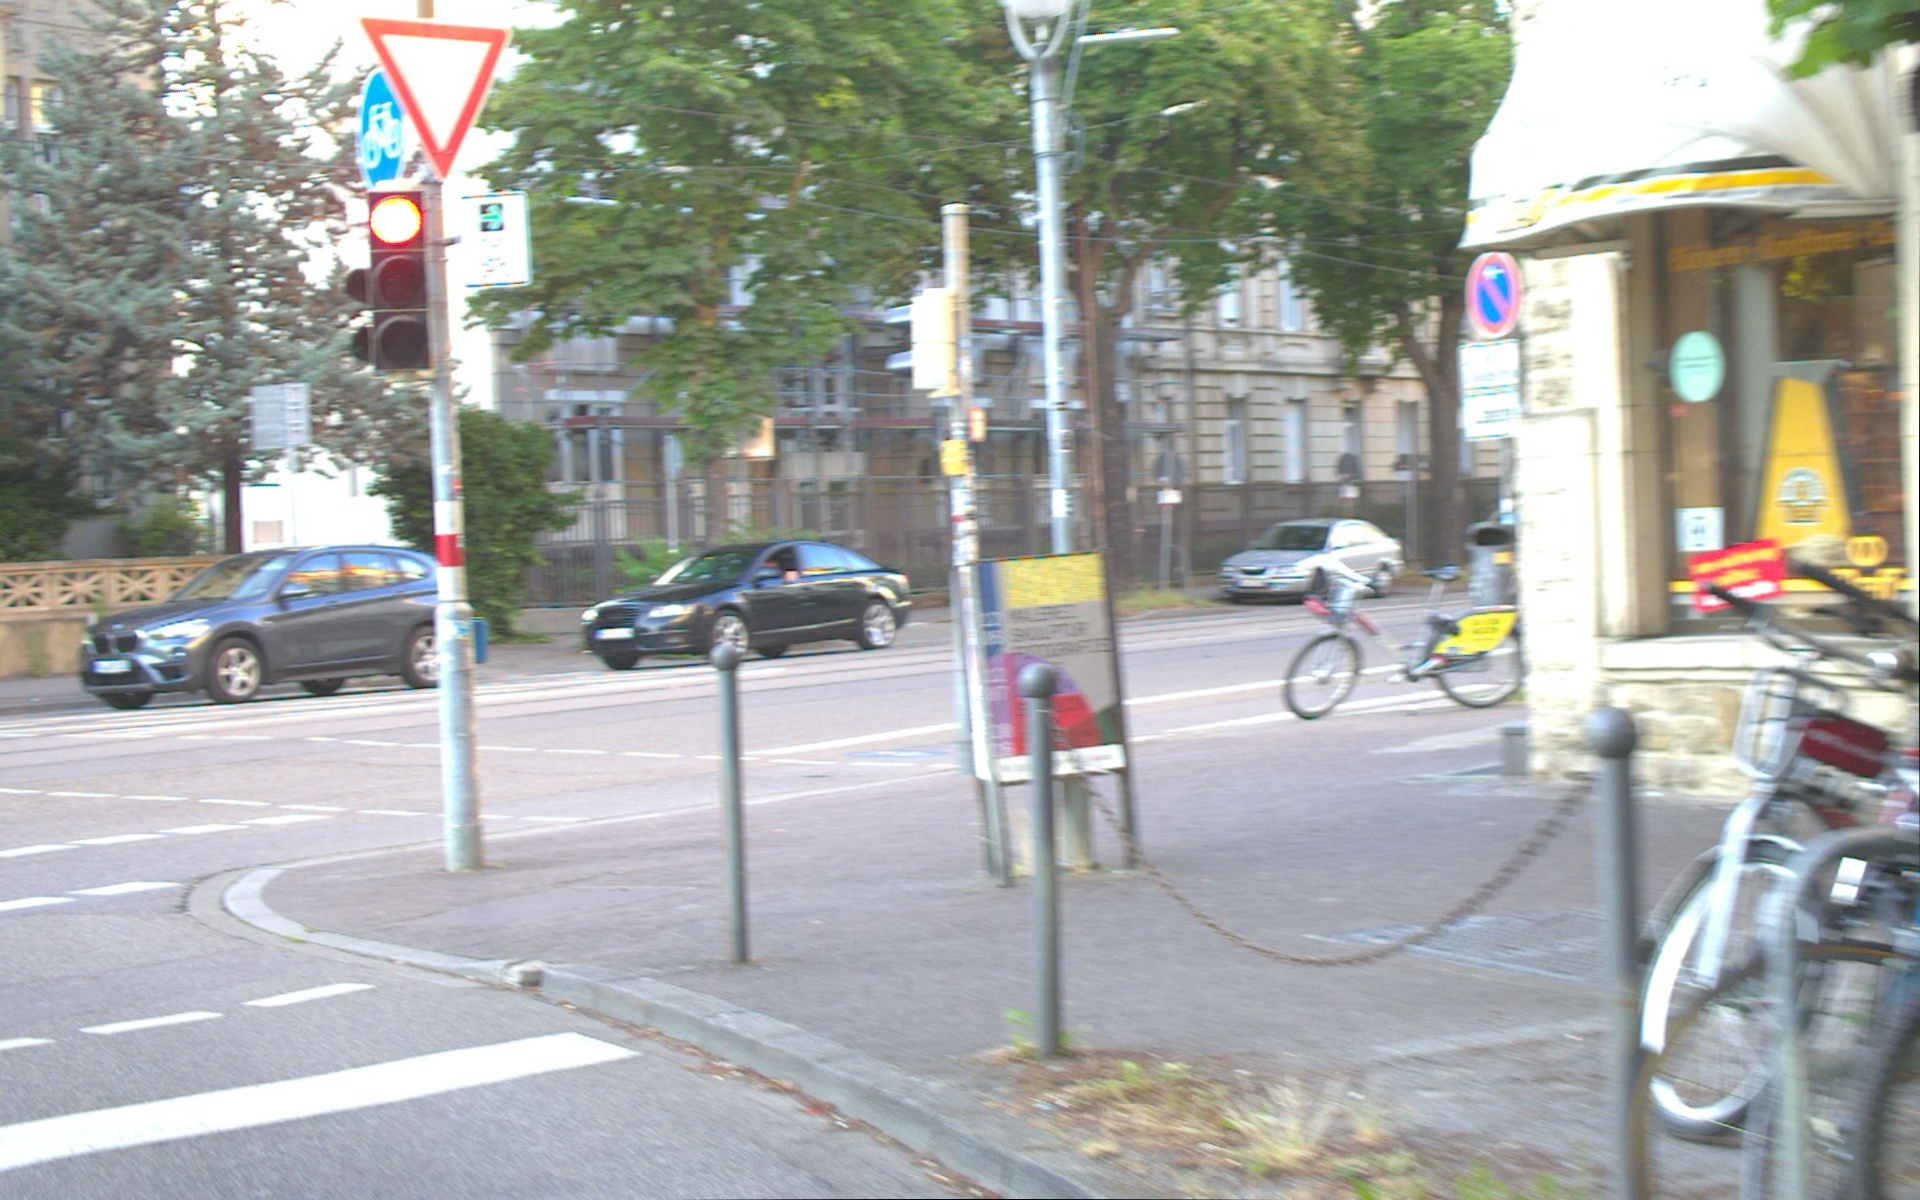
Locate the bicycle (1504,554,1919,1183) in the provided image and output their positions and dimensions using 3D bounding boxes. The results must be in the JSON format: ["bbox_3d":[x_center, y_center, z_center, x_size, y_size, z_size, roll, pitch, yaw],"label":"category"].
[{"bbox_3d":[2.168,0.521,7.538,1.787,1.232,0.651,-3,1,-18],"label":"bicycle"}]

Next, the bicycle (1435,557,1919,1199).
[{"bbox_3d":[1.873,0.541,6.398,1.787,1.232,0.700,-3,1,-17],"label":"bicycle"}]

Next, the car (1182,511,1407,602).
[{"bbox_3d":[5.943,-0.784,60.568,2.007,1.422,4.624,-1,2,33],"label":"car"}]

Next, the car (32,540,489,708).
[{"bbox_3d":[-7.177,0.219,35.656,1.948,1.504,4.411,-1,2,37],"label":"car"}]

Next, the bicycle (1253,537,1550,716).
[{"bbox_3d":[2.995,0.169,23.432,1.872,1.126,0.731,-2,1,-2],"label":"bicycle"}]

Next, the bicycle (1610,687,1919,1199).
[{"bbox_3d":[2.044,0.652,5.549,1.800,1.034,0.700,-3,1,-17],"label":"bicycle"}]

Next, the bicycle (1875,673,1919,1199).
[{"bbox_3d":[2.140,0.634,4.200,1.885,1.158,0.641,-3,1,-17],"label":"bicycle"}]

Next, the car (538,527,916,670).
[{"bbox_3d":[-2.743,-0.043,41.461,1.948,1.504,4.623,-1,2,37],"label":"car"}]

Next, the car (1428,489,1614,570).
[{"bbox_3d":[11.339,-1.435,69.315,1.948,1.477,4.160,-1,2,37],"label":"car"}]
